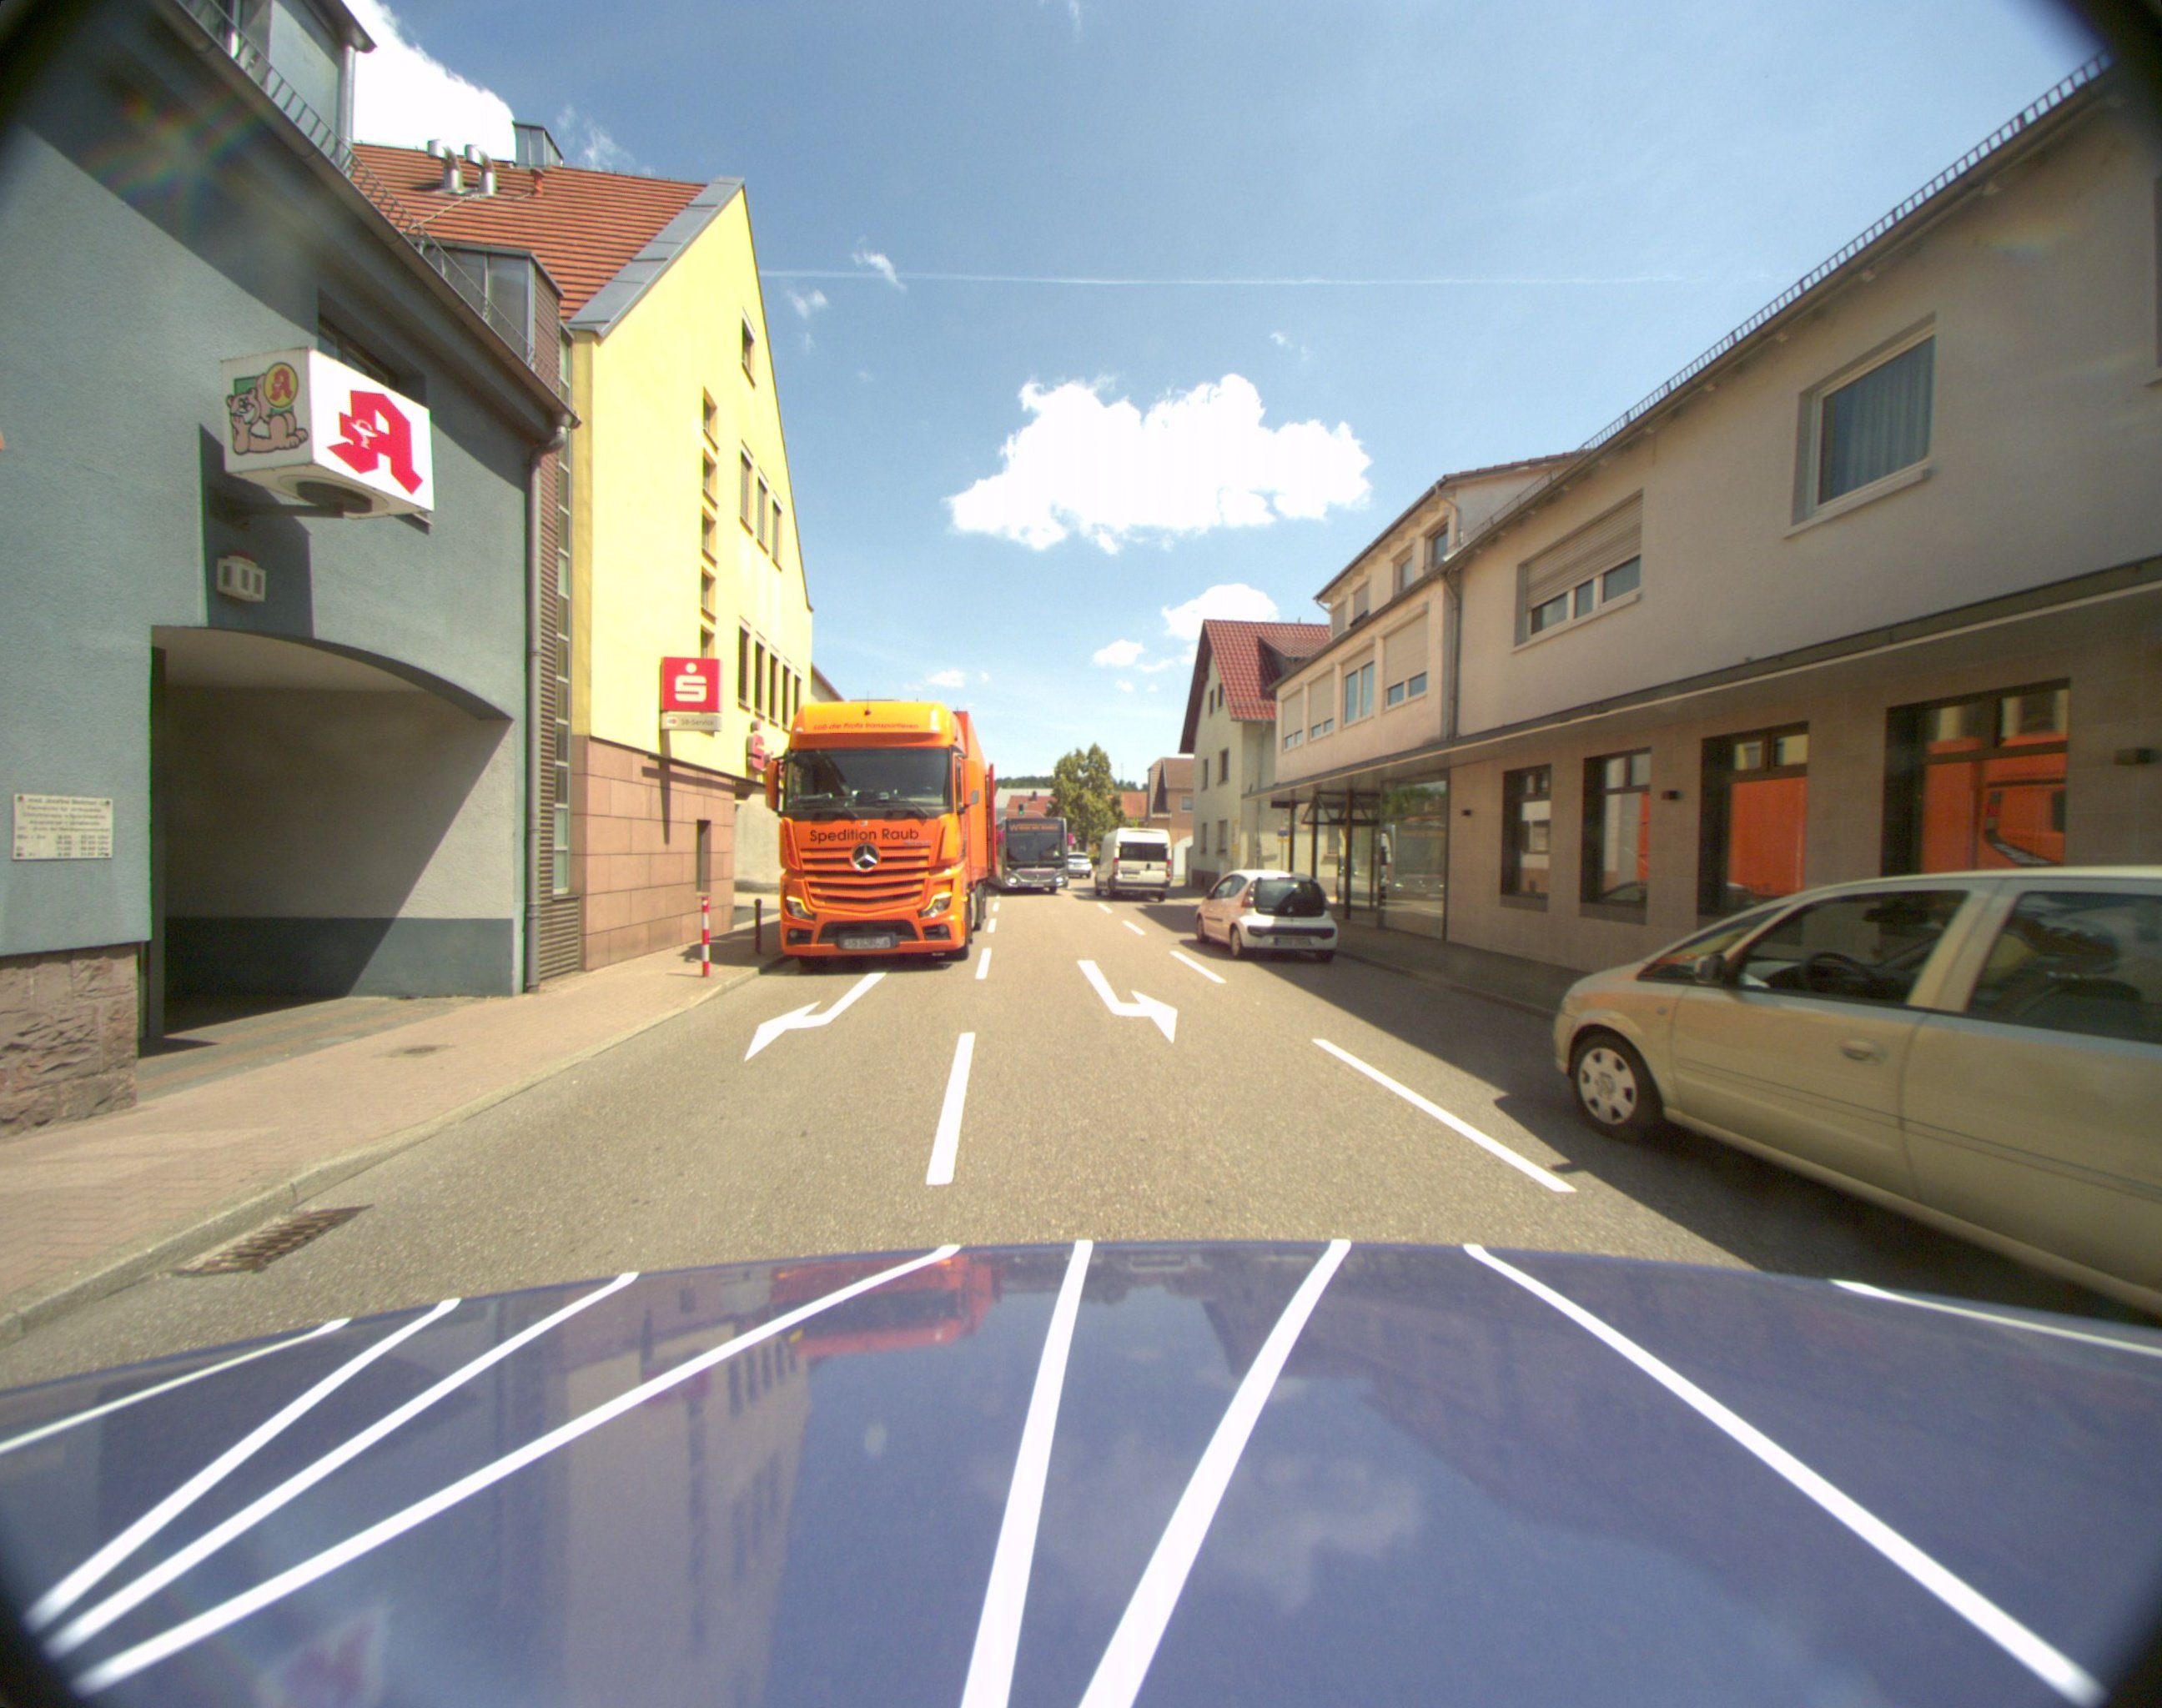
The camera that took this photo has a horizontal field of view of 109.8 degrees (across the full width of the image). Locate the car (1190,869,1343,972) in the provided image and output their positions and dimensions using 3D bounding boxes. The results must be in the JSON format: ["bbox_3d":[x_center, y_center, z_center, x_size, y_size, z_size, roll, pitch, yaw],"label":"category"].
[{"bbox_3d":[3.121,1.065,13.456,1.601,1.447,3.445,3,0,-4],"label":"car"}]

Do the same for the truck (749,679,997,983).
[{"bbox_3d":[-3.264,-0.266,14.958,2.616,3.922,9.989,-2,0,-4],"label":"truck"}]

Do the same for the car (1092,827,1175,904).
[{"bbox_3d":[1.854,0.387,28.655,2.147,2.554,5.390,2,0,-6],"label":"car"}]

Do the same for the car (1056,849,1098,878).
[{"bbox_3d":[-0.296,0.556,47.232,1.824,1.546,4.193,3,1,-10],"label":"car"}]

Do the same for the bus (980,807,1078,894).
[{"bbox_3d":[-3.163,-0.116,37.684,2.861,3.186,19.015,0,0,-10],"label":"bus"}]

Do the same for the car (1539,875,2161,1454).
[{"bbox_3d":[3.912,0.978,2.917,1.684,1.607,3.819,4,-1,-5],"label":"car"}]
